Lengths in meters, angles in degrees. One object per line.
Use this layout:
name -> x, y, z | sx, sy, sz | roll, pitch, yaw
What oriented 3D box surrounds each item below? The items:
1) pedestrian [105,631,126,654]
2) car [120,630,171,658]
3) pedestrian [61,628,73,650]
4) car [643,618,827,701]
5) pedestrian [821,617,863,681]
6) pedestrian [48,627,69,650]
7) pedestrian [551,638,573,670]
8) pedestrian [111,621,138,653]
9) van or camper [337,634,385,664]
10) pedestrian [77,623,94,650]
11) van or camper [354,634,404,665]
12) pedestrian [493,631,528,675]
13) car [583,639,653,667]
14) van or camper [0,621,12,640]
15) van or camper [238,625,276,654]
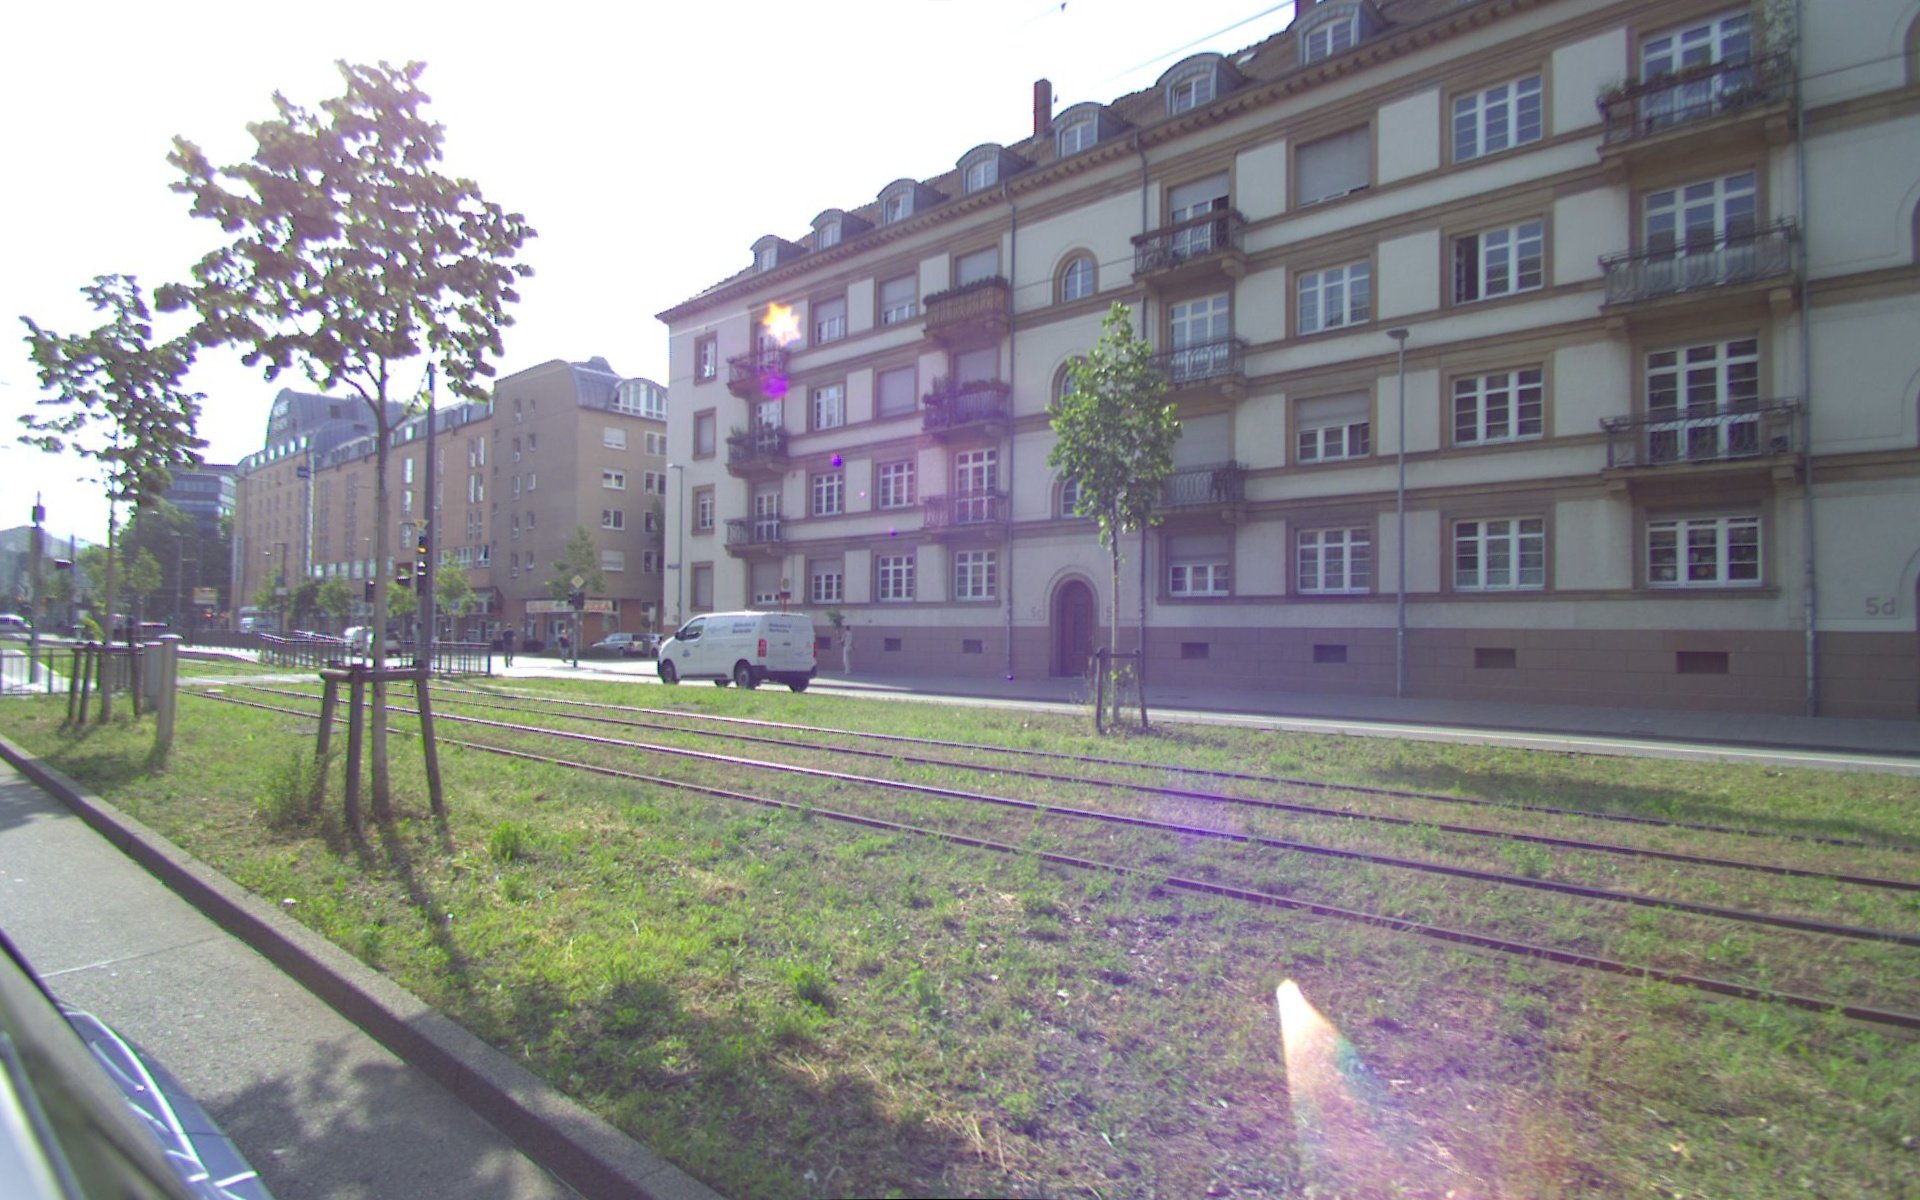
pedestrian -> -55.766, 2.816, 66.838 | 0.803, 1.542, 0.676 | 0, -3, 10
car -> -60.215, 3.237, 74.793 | 4.928, 2.029, 1.973 | -2, -4, 40
pedestrian -> -73.522, 3.225, 83.320 | 0.698, 1.774, 0.644 | -1, 0, 42
car -> -5.812, 1.483, 25.757 | 5.044, 1.909, 1.972 | -2, -4, 41
pedestrian -> -3.921, 1.614, 33.520 | 1.156, 2.084, 0.833 | -2, -2, 42
pedestrian -> -70.108, 3.016, 78.709 | 0.825, 1.760, 0.784 | 1, -4, 5
pedestrian -> -19.693, 2.670, 50.071 | 0.807, 1.595, 0.671 | -2, -3, 38
pedestrian -> -49.135, 2.172, 59.528 | 0.926, 1.886, 0.741 | 0, -3, 0
van or camper -> -41.790, 3.433, 70.543 | 1.970, 2.029, 4.003 | 3, -4, -44
pedestrian -> -62.344, 2.635, 72.132 | 0.555, 1.901, 0.796 | -2, -3, 42
van or camper -> -38.206, 3.253, 66.504 | 1.907, 1.983, 4.003 | 3, -4, -44
pedestrian -> -19.346, 2.269, 43.587 | 0.856, 1.882, 1.066 | 0, -2, 14
car -> -20.603, 3.155, 60.877 | 4.548, 1.612, 1.747 | -2, -3, 37
van or camper -> -115.834, 3.649, 120.507 | 3.926, 2.228, 1.937 | 1, -3, -4
van or camper -> -71.990, 4.042, 103.597 | 5.351, 2.823, 1.972 | -2, -4, 42
